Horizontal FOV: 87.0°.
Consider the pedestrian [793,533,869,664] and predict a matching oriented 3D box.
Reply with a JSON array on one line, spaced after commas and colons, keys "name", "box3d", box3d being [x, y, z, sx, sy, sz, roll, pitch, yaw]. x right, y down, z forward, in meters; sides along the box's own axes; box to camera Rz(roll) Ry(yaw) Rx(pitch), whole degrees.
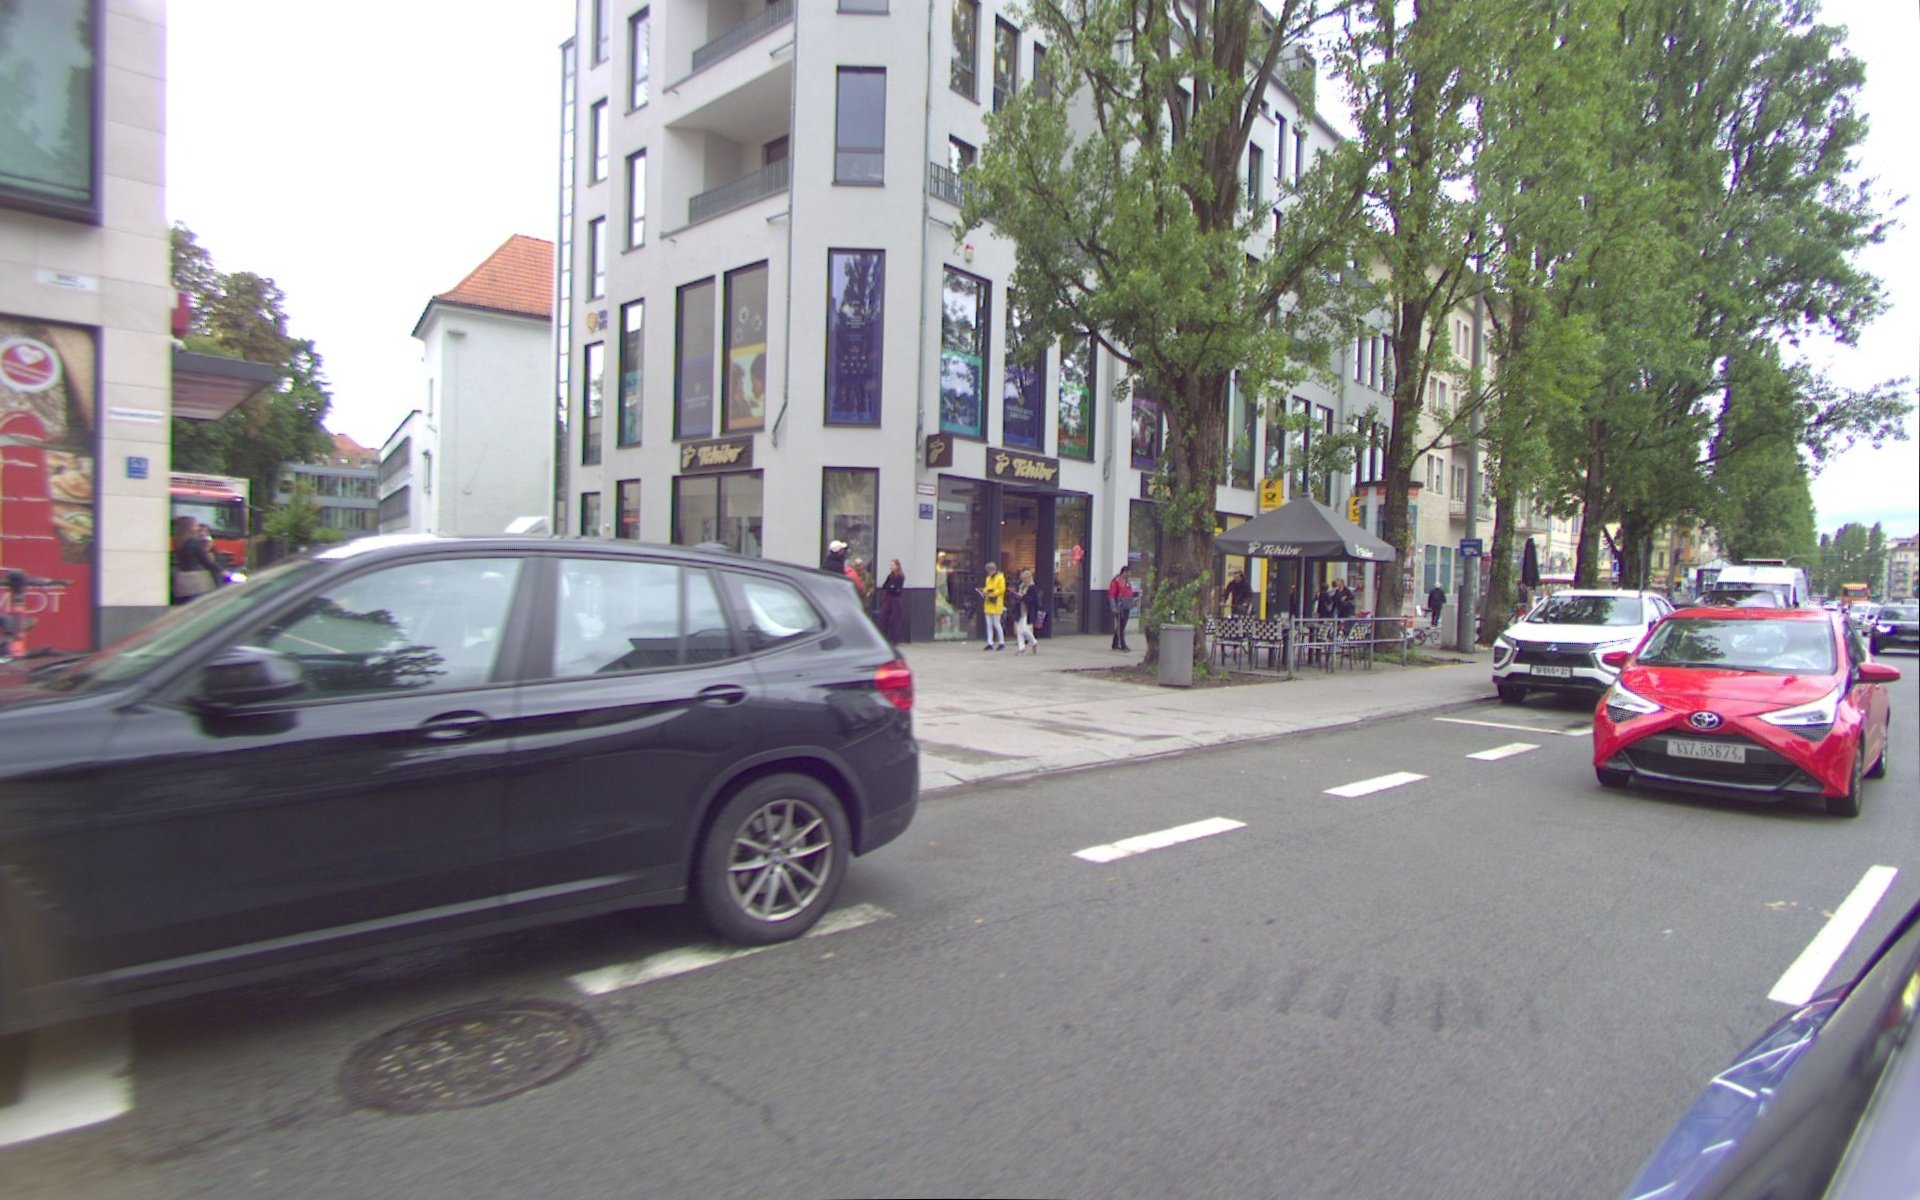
[{"name": "pedestrian", "box3d": [-1.985, -0.035, 15.597, 0.910, 1.948, 0.647, 1, 2, -43]}]

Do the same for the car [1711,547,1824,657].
[{"name": "car", "box3d": [22.649, 0.004, 28.285, 1.994, 2.776, 5.467, 1, 1, 44]}]

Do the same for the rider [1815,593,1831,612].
[{"name": "rider", "box3d": [58.248, 0.151, 68.325, 0.729, 1.256, 0.722, 5, 4, 39]}]

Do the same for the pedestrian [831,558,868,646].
[{"name": "pedestrian", "box3d": [-2.106, 0.026, 19.242, 0.542, 1.645, 0.504, 0, 0, 19]}]

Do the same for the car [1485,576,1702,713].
[{"name": "car", "box3d": [9.404, 0.548, 14.869, 4.336, 1.707, 1.728, 0, 1, -44]}]

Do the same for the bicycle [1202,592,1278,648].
[{"name": "bicycle", "box3d": [5.714, 0.395, 20.573, 1.773, 1.076, 0.591, 0, 2, -42]}]

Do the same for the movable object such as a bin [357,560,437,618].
[{"name": "movable object such as a bin", "box3d": [-12.745, -0.241, 22.922, 1.109, 1.236, 1.279, 3, 1, 44]}]

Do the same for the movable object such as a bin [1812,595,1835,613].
[{"name": "movable object such as a bin", "box3d": [58.269, 0.269, 68.328, 1.085, 1.075, 0.737, 5, 4, 39]}]

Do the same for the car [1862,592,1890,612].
[{"name": "car", "box3d": [86.437, 0.190, 95.496, 1.853, 1.727, 3.939, 4, 3, 42]}]

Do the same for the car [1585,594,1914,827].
[{"name": "car", "box3d": [6.645, 0.706, 8.391, 3.536, 1.464, 1.666, -1, 1, -44]}]

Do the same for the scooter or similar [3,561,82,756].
[{"name": "scooter or similar", "box3d": [-6.408, 0.365, 7.069, 0.373, 1.241, 1.052, 1, 2, -42]}]

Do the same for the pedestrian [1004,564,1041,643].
[{"name": "pedestrian", "box3d": [1.310, 0.069, 21.115, 0.558, 1.595, 0.673, 2, 1, 19]}]

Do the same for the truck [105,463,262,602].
[{"name": "truck", "box3d": [-21.757, -1.815, 28.251, 5.551, 3.494, 2.591, 3, 2, 43]}]

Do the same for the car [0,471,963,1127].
[{"name": "car", "box3d": [-2.352, 0.498, 4.034, 4.567, 1.721, 1.929, -1, 1, -39]}]

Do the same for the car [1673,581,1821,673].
[{"name": "car", "box3d": [17.552, 0.527, 22.485, 4.699, 1.827, 1.931, 0, 1, -44]}]

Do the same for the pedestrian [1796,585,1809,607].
[{"name": "pedestrian", "box3d": [72.631, -0.378, 87.266, 0.727, 1.823, 0.702, 3, 3, 33]}]

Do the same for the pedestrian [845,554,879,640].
[{"name": "pedestrian", "box3d": [-1.929, -0.064, 19.891, 0.538, 1.645, 0.508, 0, 0, -24]}]

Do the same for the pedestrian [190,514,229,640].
[{"name": "pedestrian", "box3d": [-10.734, -0.329, 14.470, 0.419, 1.772, 0.469, 1, 1, -38]}]

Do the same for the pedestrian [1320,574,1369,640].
[{"name": "pedestrian", "box3d": [9.956, 0.165, 26.182, 0.800, 1.657, 1.007, 3, 2, 44]}]

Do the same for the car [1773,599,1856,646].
[{"name": "car", "box3d": [28.645, 0.707, 33.876, 4.078, 1.472, 1.726, 0, 0, -44]}]

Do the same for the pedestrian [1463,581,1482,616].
[{"name": "pedestrian", "box3d": [25.359, -0.069, 50.100, 0.601, 1.671, 0.753, 3, 2, 45]}]

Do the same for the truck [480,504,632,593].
[{"name": "truck", "box3d": [-17.203, -2.115, 43.300, 5.584, 3.507, 2.219, 0, 2, -42]}]

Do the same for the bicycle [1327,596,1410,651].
[{"name": "bicycle", "box3d": [9.346, 0.518, 23.195, 0.876, 1.153, 1.516, 1, 2, -30]}]

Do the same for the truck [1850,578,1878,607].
[{"name": "truck", "box3d": [117.141, -1.008, 131.127, 2.534, 3.531, 7.634, 3, 2, 42]}]

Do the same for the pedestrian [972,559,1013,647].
[{"name": "pedestrian", "box3d": [0.635, 0.053, 19.539, 0.559, 1.654, 0.491, 1, 2, -41]}]

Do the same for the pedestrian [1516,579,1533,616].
[{"name": "pedestrian", "box3d": [28.990, -0.129, 51.972, 0.711, 1.851, 0.722, 2, 1, 28]}]

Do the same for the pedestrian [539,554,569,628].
[{"name": "pedestrian", "box3d": [-8.987, -0.205, 22.397, 0.540, 1.600, 0.508, 0, 0, -30]}]

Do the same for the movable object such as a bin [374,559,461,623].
[{"name": "movable object such as a bin", "box3d": [-11.891, -0.198, 22.183, 1.109, 1.334, 1.371, 3, 1, 44]}]

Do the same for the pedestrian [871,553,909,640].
[{"name": "pedestrian", "box3d": [-1.361, -0.080, 19.563, 0.547, 1.645, 0.499, 1, 1, 43]}]

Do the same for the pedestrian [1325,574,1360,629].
[{"name": "pedestrian", "box3d": [11.343, 0.043, 30.038, 0.682, 1.577, 0.738, 3, 2, 44]}]

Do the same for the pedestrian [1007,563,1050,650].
[{"name": "pedestrian", "box3d": [1.276, 0.111, 18.768, 0.559, 1.586, 0.491, 1, 2, -41]}]

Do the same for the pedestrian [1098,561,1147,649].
[{"name": "pedestrian", "box3d": [3.295, 0.089, 20.550, 0.666, 1.746, 0.760, 3, 2, 35]}]

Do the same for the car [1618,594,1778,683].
[{"name": "car", "box3d": [13.776, 0.639, 18.790, 1.772, 1.451, 4.497, 0, 0, 45]}]

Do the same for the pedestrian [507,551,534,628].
[{"name": "pedestrian", "box3d": [-9.622, -0.230, 22.173, 0.490, 1.645, 0.508, 0, 0, -30]}]

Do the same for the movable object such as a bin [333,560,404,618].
[{"name": "movable object such as a bin", "box3d": [-14.037, -0.256, 24.018, 1.160, 1.310, 1.164, 3, 1, 44]}]

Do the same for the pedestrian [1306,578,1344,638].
[{"name": "pedestrian", "box3d": [9.893, 0.214, 27.441, 0.682, 1.577, 0.738, 3, 2, 44]}]

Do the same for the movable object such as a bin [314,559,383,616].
[{"name": "movable object such as a bin", "box3d": [-14.966, -0.307, 24.781, 1.160, 1.310, 1.164, 3, 1, 44]}]

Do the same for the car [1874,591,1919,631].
[{"name": "car", "box3d": [44.249, 0.502, 47.482, 1.992, 1.772, 3.939, 1, 1, 42]}]

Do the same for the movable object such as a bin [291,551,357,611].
[{"name": "movable object such as a bin", "box3d": [-16.354, -0.487, 26.018, 1.160, 1.452, 1.164, 3, 1, 44]}]

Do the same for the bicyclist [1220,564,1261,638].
[{"name": "bicyclist", "box3d": [5.687, 0.021, 20.519, 0.432, 1.466, 0.640, 1, 1, -41]}]

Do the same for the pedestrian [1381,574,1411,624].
[{"name": "pedestrian", "box3d": [14.836, -0.028, 34.435, 0.690, 1.669, 0.786, 3, 1, 42]}]

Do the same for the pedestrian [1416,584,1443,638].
[{"name": "pedestrian", "box3d": [11.956, 0.263, 25.779, 0.589, 1.358, 0.389, 0, 0, 22]}]

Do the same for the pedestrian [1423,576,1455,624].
[{"name": "pedestrian", "box3d": [17.991, -0.009, 38.040, 0.724, 1.745, 0.723, 2, 2, -10]}]

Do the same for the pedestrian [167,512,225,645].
[{"name": "pedestrian", "box3d": [-10.394, -0.292, 13.767, 0.422, 1.772, 0.465, 2, 1, 22]}]

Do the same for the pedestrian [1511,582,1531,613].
[{"name": "pedestrian", "box3d": [28.489, -0.119, 51.387, 0.677, 1.547, 0.718, 3, 2, 44]}]

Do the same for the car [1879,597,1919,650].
[{"name": "car", "box3d": [29.067, 0.692, 30.632, 1.734, 1.488, 3.990, 2, 1, 41]}]
